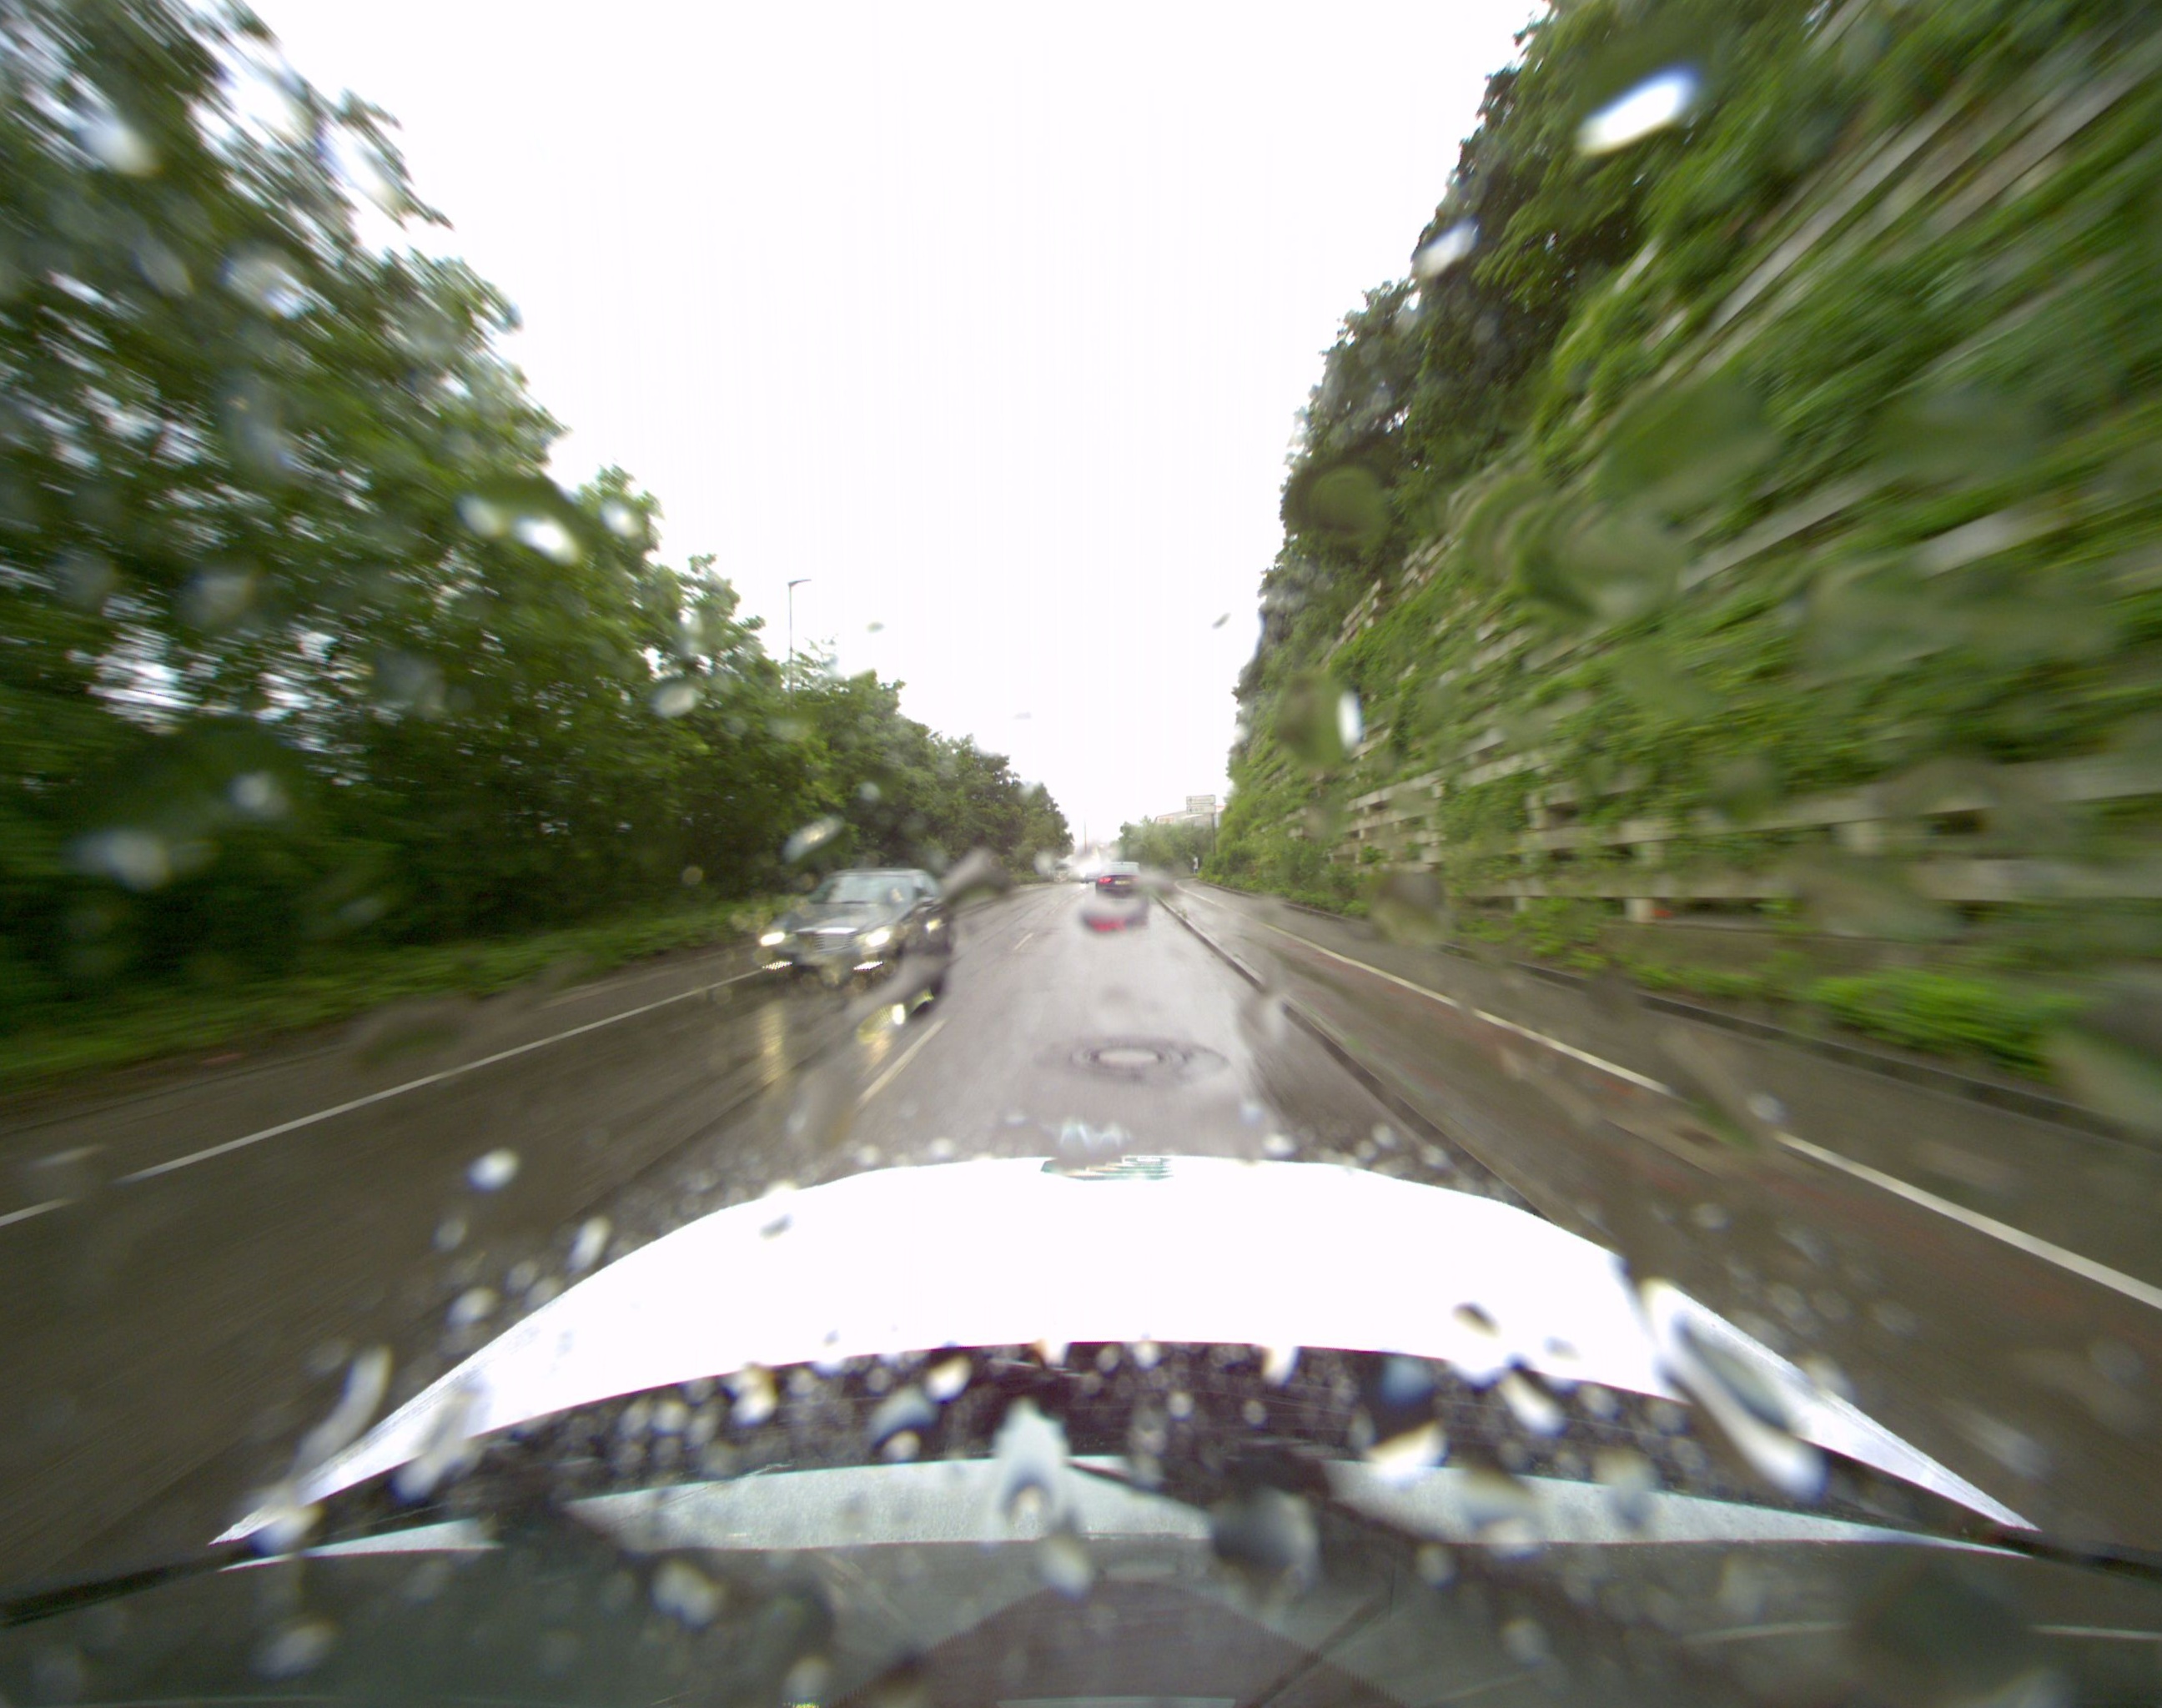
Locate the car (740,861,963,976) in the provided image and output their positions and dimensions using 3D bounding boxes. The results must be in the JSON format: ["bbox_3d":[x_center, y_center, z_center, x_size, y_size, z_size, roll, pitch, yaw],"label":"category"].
[{"bbox_3d":[-3.121,0.811,12.090,1.986,1.364,4.252,-1,0,1],"label":"car"}]

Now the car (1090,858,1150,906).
[{"bbox_3d":[1.401,0.909,28.216,1.884,1.492,4.211,-1,0,4],"label":"car"}]

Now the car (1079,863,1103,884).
[{"bbox_3d":[0.872,1.628,69.730,1.822,1.706,4.337,-1,-1,3],"label":"car"}]
